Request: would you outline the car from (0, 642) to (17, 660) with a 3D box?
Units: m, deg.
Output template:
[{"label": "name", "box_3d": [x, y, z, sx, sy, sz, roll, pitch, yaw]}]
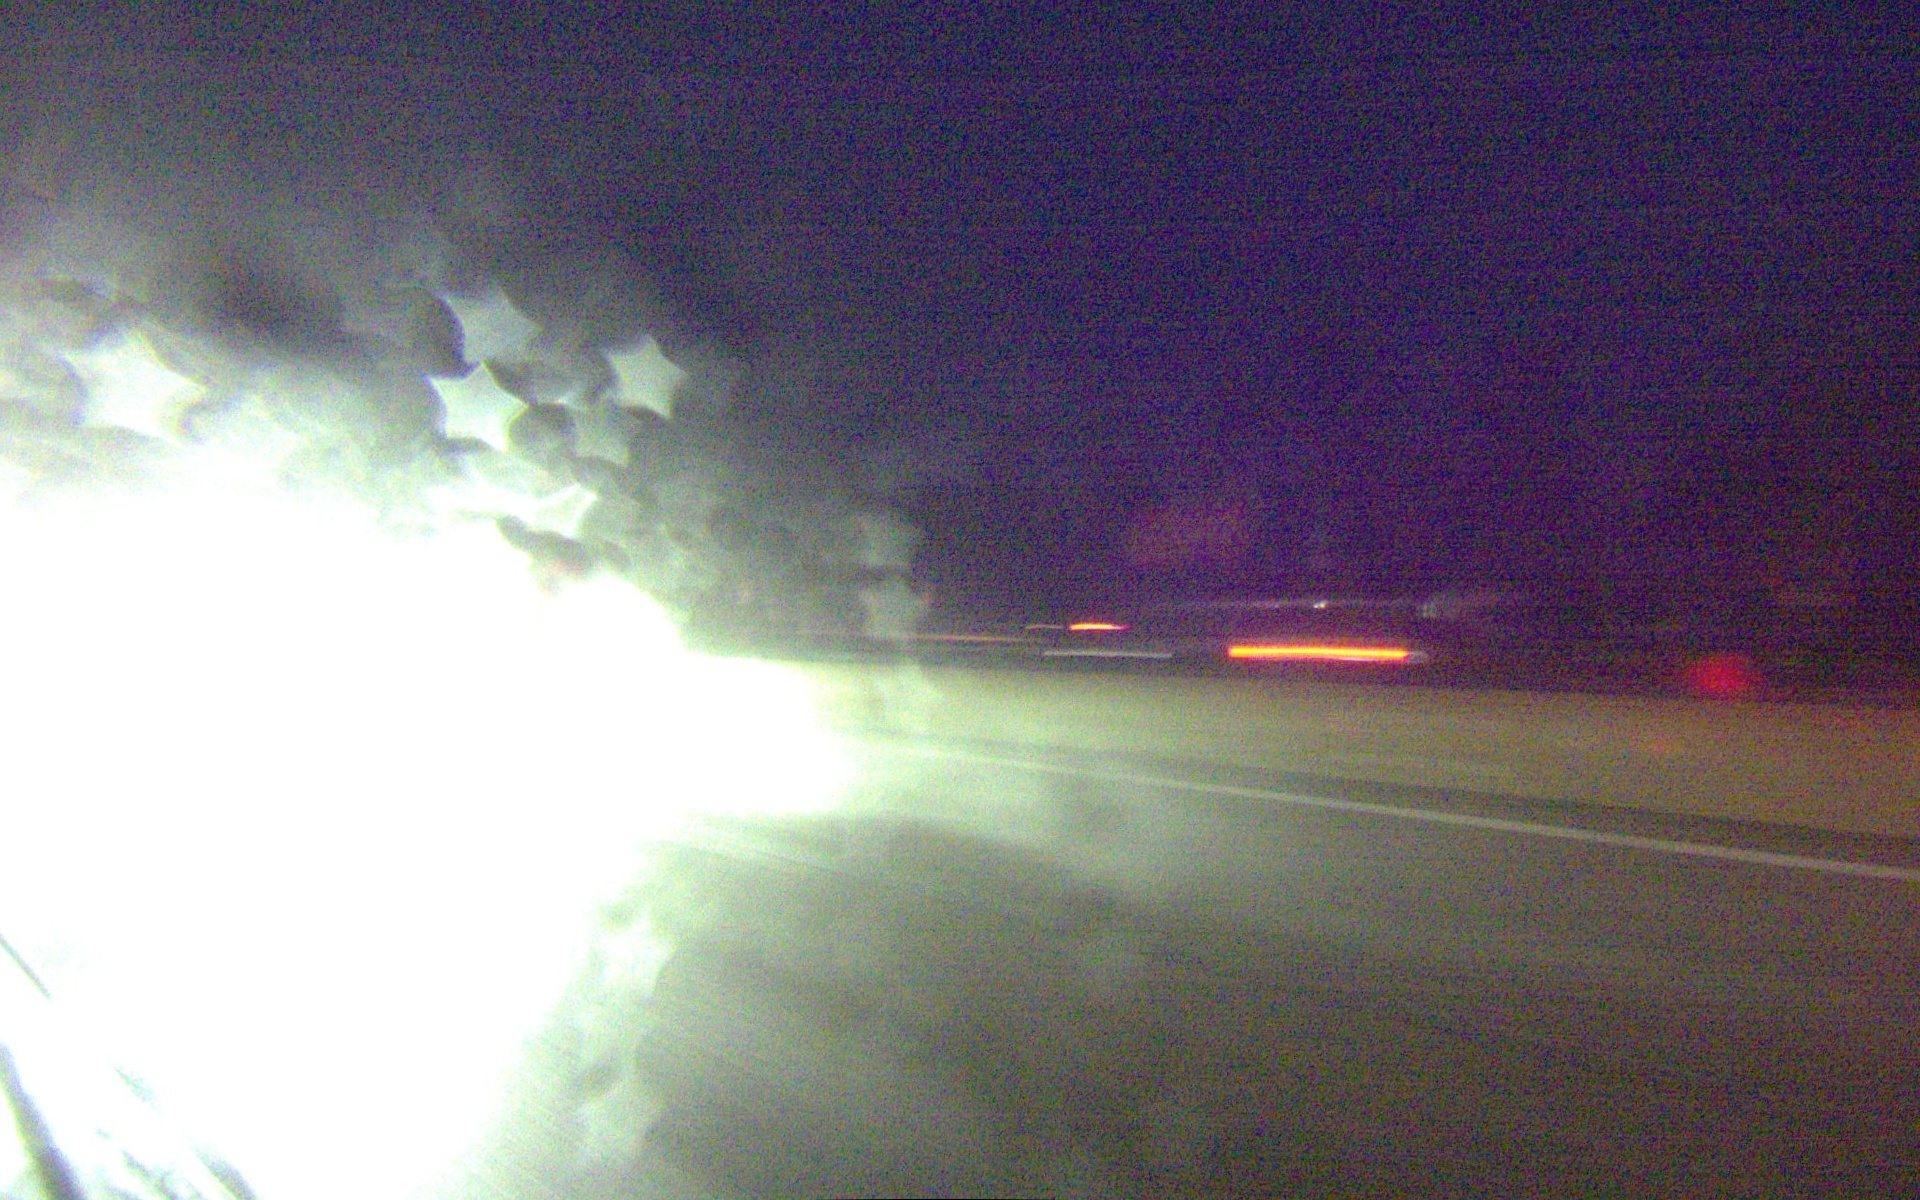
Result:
[{"label": "car", "box_3d": [-74.248, 3.943, 78.133, 3.989, 1.304, 1.689, -4, -5, 41]}]

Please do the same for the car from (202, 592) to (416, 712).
[{"label": "car", "box_3d": [-12.157, 0.904, 18.709, 5.557, 1.899, 2.113, -2, -2, 44]}]

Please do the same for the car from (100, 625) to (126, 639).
[{"label": "car", "box_3d": [-95.914, 3.616, 114.554, 4.292, 1.538, 1.713, 0, -3, 43]}]

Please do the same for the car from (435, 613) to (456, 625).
[{"label": "car", "box_3d": [-67.190, 2.508, 132.161, 1.747, 1.416, 3.247, 0, -1, -39]}]

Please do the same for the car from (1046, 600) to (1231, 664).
[{"label": "car", "box_3d": [4.451, 0.789, 25.624, 4.292, 1.471, 1.819, 0, -3, 43]}]

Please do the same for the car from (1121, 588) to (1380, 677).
[{"label": "car", "box_3d": [5.321, 0.577, 18.881, 4.292, 1.471, 1.819, 0, -3, 43]}]

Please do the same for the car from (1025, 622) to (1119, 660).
[{"label": "car", "box_3d": [5.678, 2.067, 51.661, 1.970, 1.785, 4.574, 0, -1, -43]}]

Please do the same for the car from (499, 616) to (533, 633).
[{"label": "car", "box_3d": [-48.552, 2.664, 110.693, 1.970, 1.785, 4.573, 0, -1, -44]}]

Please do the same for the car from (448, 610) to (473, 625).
[{"label": "car", "box_3d": [-69.404, 2.409, 140.685, 1.969, 1.947, 4.692, 0, -1, -41]}]

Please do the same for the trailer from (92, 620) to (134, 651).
[{"label": "trailer", "box_3d": [-121.925, 5.033, 145.601, 13.931, 4.029, 2.782, 0, -3, 43]}]
